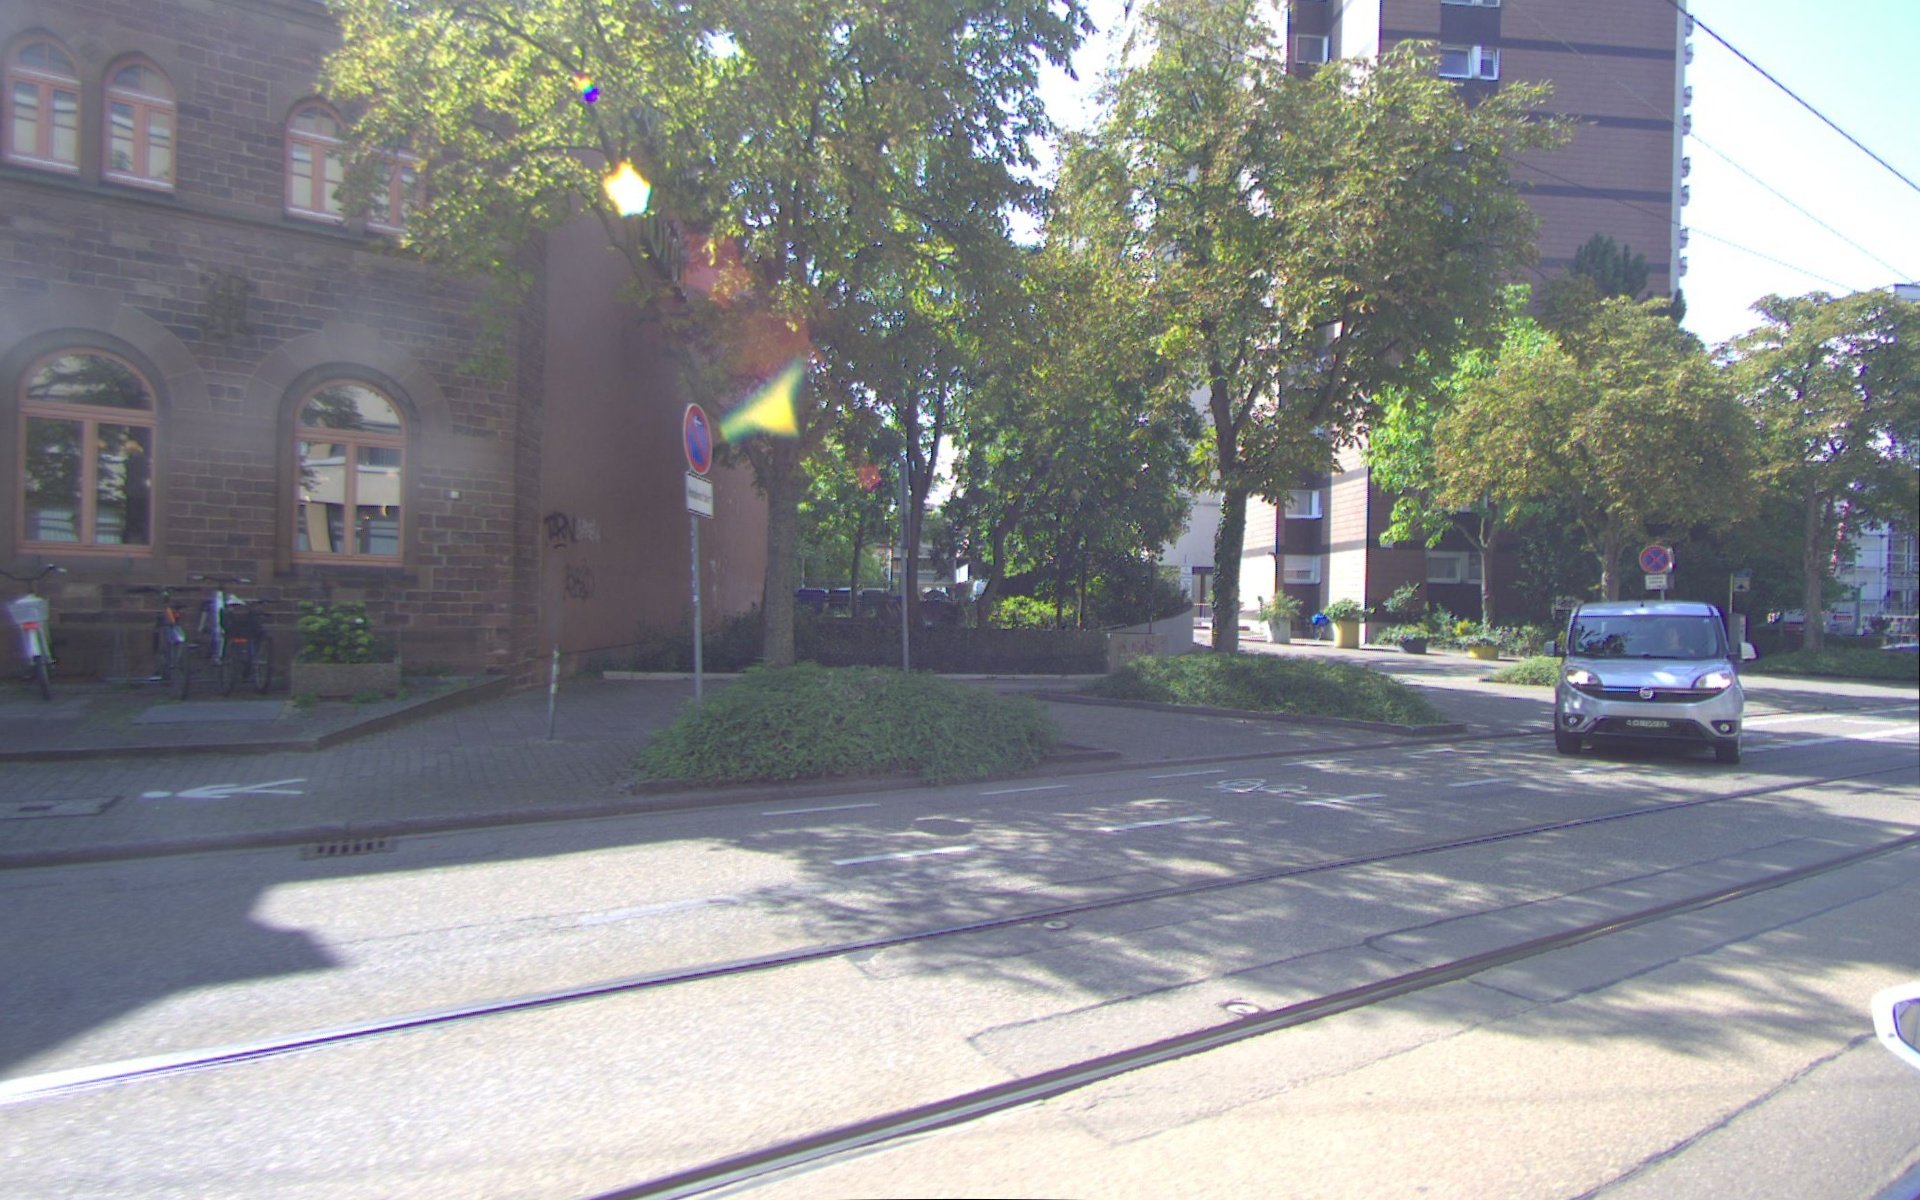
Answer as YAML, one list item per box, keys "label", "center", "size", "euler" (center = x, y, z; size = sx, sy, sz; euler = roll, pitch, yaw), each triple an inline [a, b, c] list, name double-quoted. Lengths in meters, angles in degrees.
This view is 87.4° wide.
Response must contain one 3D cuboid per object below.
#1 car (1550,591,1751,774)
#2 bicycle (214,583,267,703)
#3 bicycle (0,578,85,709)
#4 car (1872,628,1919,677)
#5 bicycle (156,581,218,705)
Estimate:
- label: "car"
  center: [8.535, 0.869, 12.282]
  size: [1.725, 1.820, 3.983]
  euler: [2, 0, 38]
- label: "bicycle"
  center: [-7.562, 0.419, 10.585]
  size: [0.395, 1.108, 1.441]
  euler: [1, 3, -34]
- label: "bicycle"
  center: [-8.863, 0.383, 9.724]
  size: [0.395, 1.108, 1.441]
  euler: [1, 3, -34]
- label: "car"
  center: [33.320, 1.795, 33.142]
  size: [4.509, 1.573, 1.993]
  euler: [2, 0, 36]
- label: "bicycle"
  center: [-7.942, 0.409, 10.350]
  size: [0.395, 1.108, 1.441]
  euler: [1, 3, -34]
